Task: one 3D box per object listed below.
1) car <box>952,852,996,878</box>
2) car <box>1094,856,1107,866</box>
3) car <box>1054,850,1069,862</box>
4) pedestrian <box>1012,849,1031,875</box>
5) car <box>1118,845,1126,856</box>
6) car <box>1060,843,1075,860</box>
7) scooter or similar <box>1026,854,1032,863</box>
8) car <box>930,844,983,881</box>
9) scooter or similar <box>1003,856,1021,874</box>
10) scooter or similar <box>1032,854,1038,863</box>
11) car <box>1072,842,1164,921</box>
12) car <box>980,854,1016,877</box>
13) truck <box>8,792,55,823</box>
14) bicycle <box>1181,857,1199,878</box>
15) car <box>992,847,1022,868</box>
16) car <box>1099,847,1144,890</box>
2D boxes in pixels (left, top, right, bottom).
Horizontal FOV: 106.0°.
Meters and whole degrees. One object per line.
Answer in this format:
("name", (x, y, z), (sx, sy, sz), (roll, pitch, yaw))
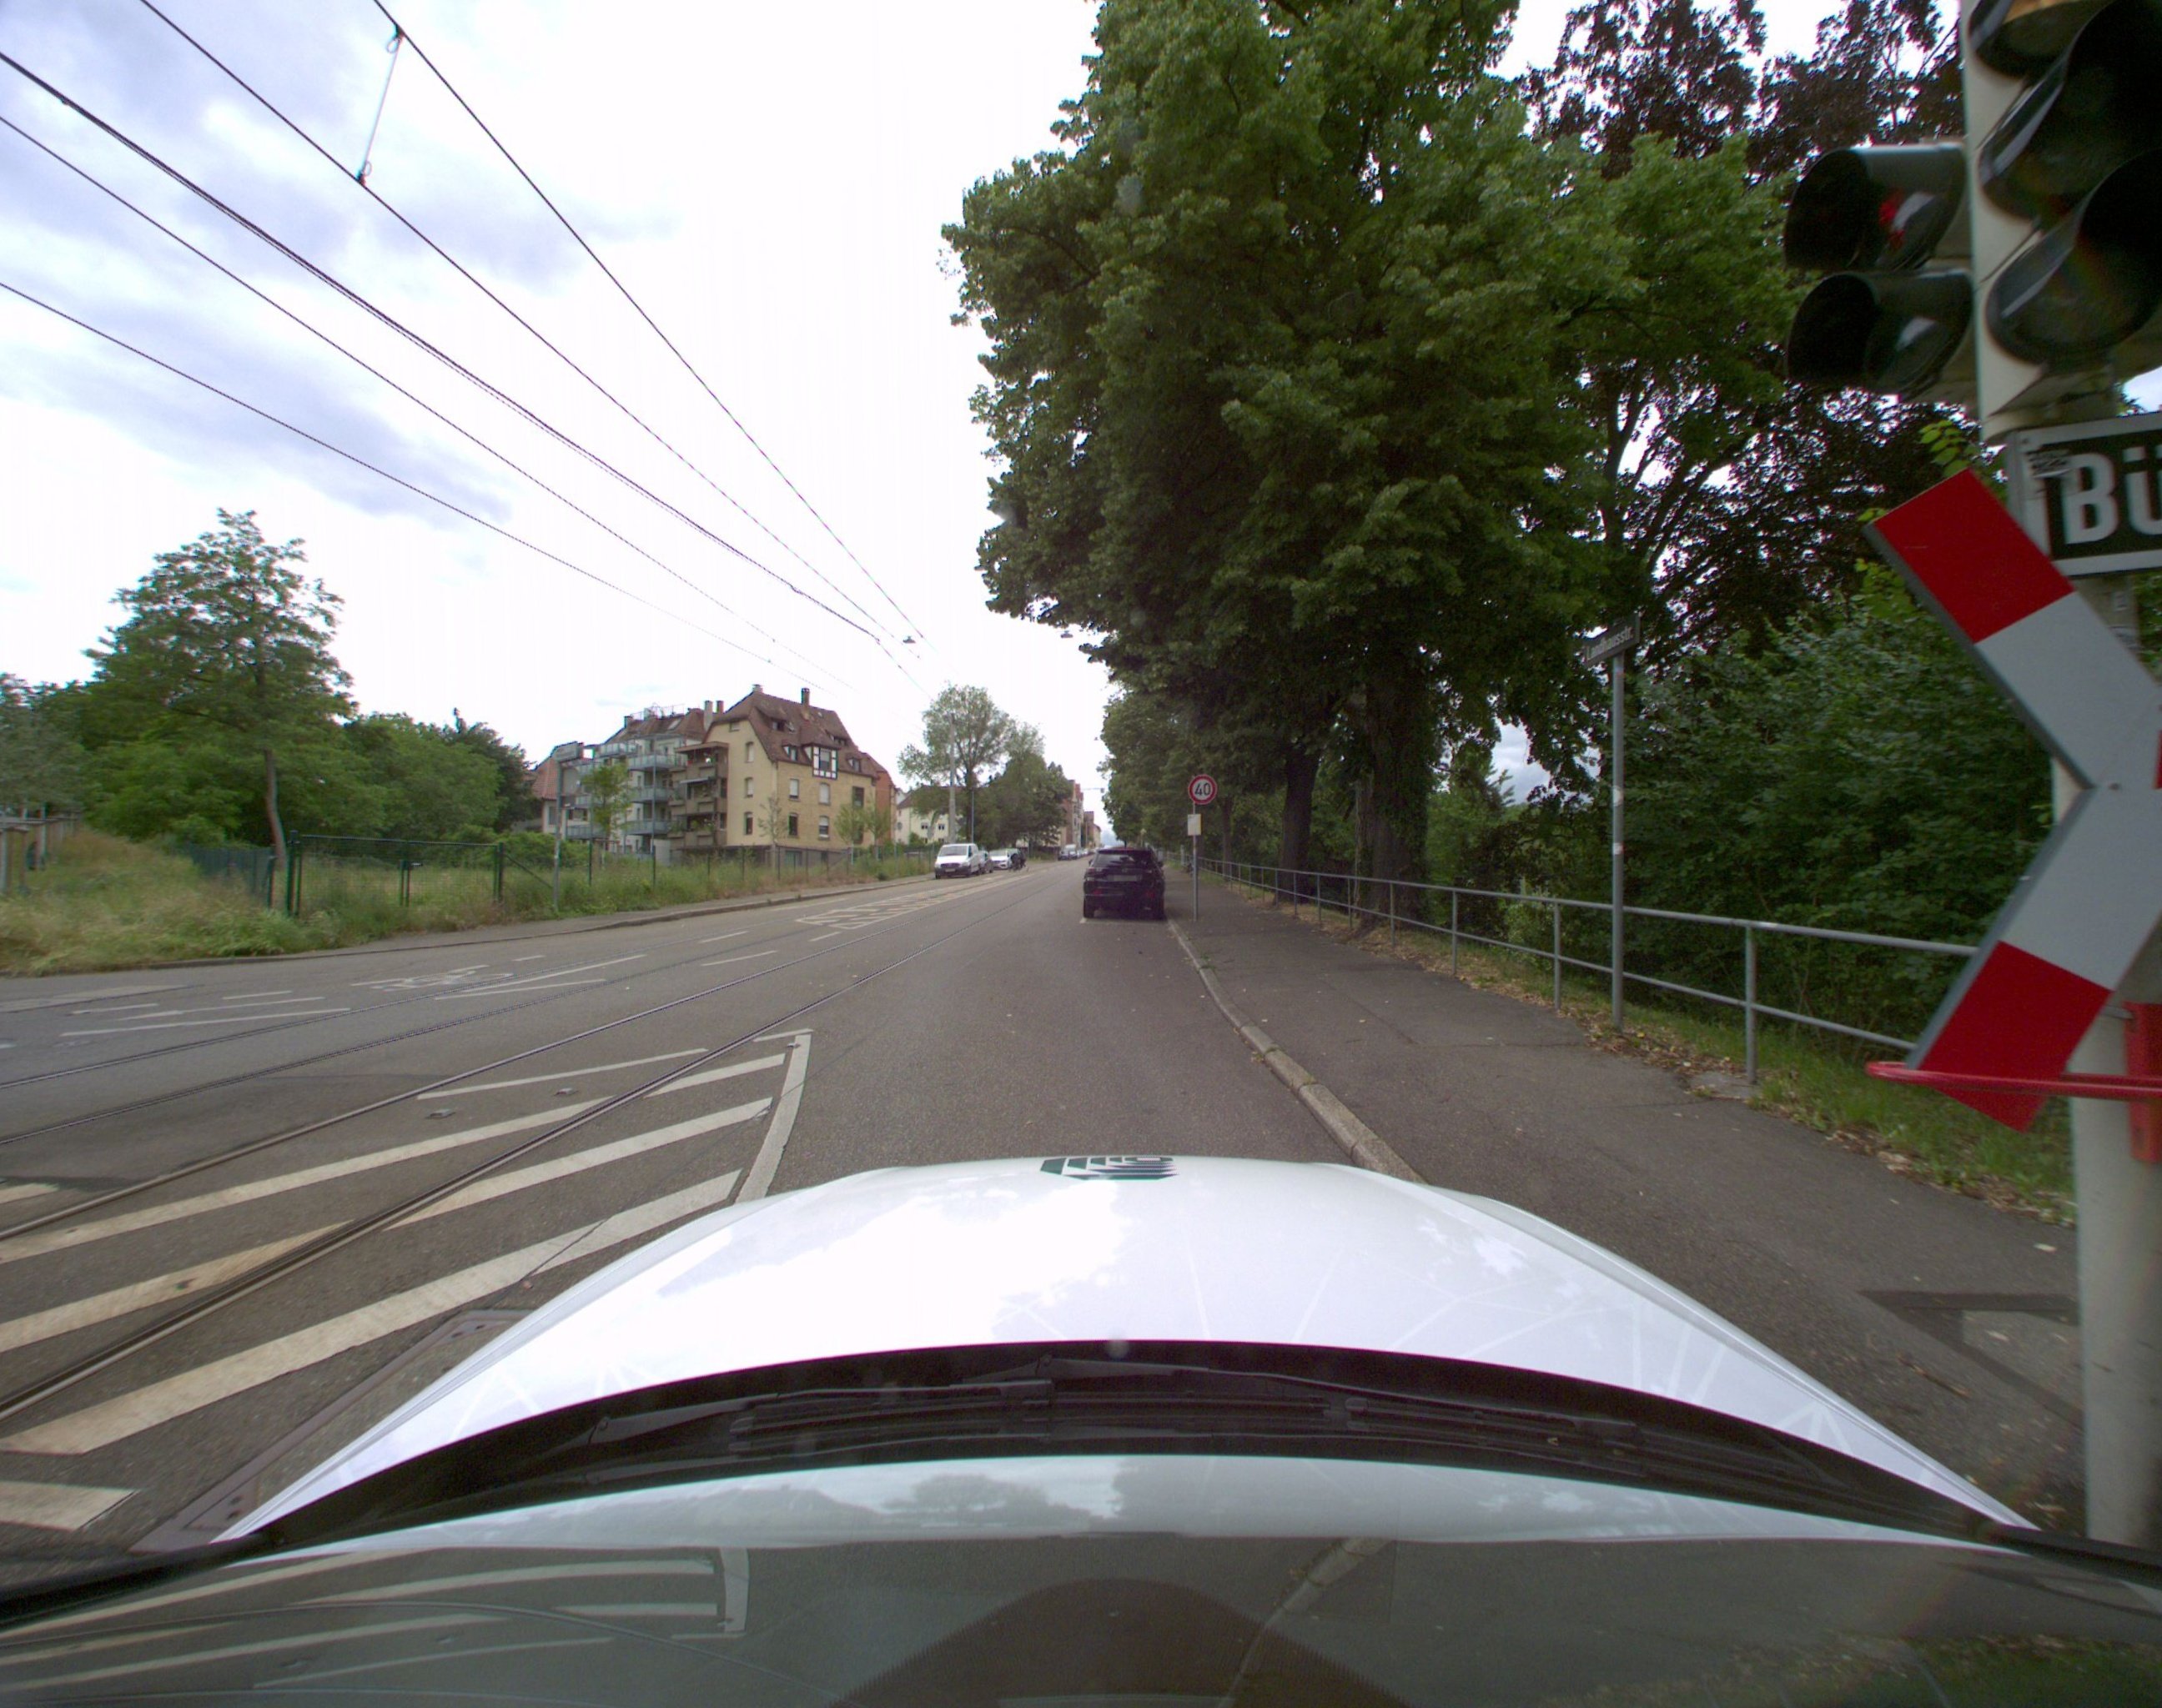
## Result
("car", (-6.662, 0.656, 51.133), (1.888, 1.432, 4.514), (-2, 0, 3))
("car", (3.001, 1.091, 124.582), (1.985, 1.498, 4.315), (0, -1, 2))
("car", (-2.974, 0.390, 125.655), (1.984, 1.808, 4.004), (0, -1, 4))
("pedestrian", (-3.804, 0.518, 52.224), (0.904, 1.628, 0.812), (0, -1, 40))
("car", (9.761, -0.860, 193.059), (1.985, 2.574, 4.708), (-1, -1, 3))
("car", (-2.303, -0.377, 140.248), (2.223, 2.764, 5.800), (0, -1, 1))
("scooter or similar", (-7.702, 0.664, 121.008), (0.688, 1.339, 1.640), (0, -1, 4))
("car", (-6.870, 0.462, 45.472), (2.028, 1.881, 4.887), (-3, -1, 2))
("scooter or similar", (-4.450, 0.702, 52.746), (0.828, 1.196, 0.812), (0, -1, 39))
("scooter or similar", (-6.884, 0.671, 121.068), (0.688, 1.339, 1.640), (0, -1, 4))
("car", (0.939, 0.568, 19.300), (1.895, 1.615, 4.605), (1, 0, 4))
("car", (-6.024, 0.801, 59.518), (1.877, 1.526, 4.667), (-2, 0, 3))
("truck", (-138.487, -6.110, 107.559), (8.094, 3.600, 3.583), (0, -1, 39))
("bicycle", (5.122, 0.636, 38.401), (0.426, 0.976, 1.790), (0, -1, -7))
("car", (-5.912, 0.234, 65.319), (1.716, 1.580, 4.184), (-1, 0, 3))
("car", (1.691, 0.570, 34.959), (1.720, 1.631, 4.089), (3, 1, 1))
